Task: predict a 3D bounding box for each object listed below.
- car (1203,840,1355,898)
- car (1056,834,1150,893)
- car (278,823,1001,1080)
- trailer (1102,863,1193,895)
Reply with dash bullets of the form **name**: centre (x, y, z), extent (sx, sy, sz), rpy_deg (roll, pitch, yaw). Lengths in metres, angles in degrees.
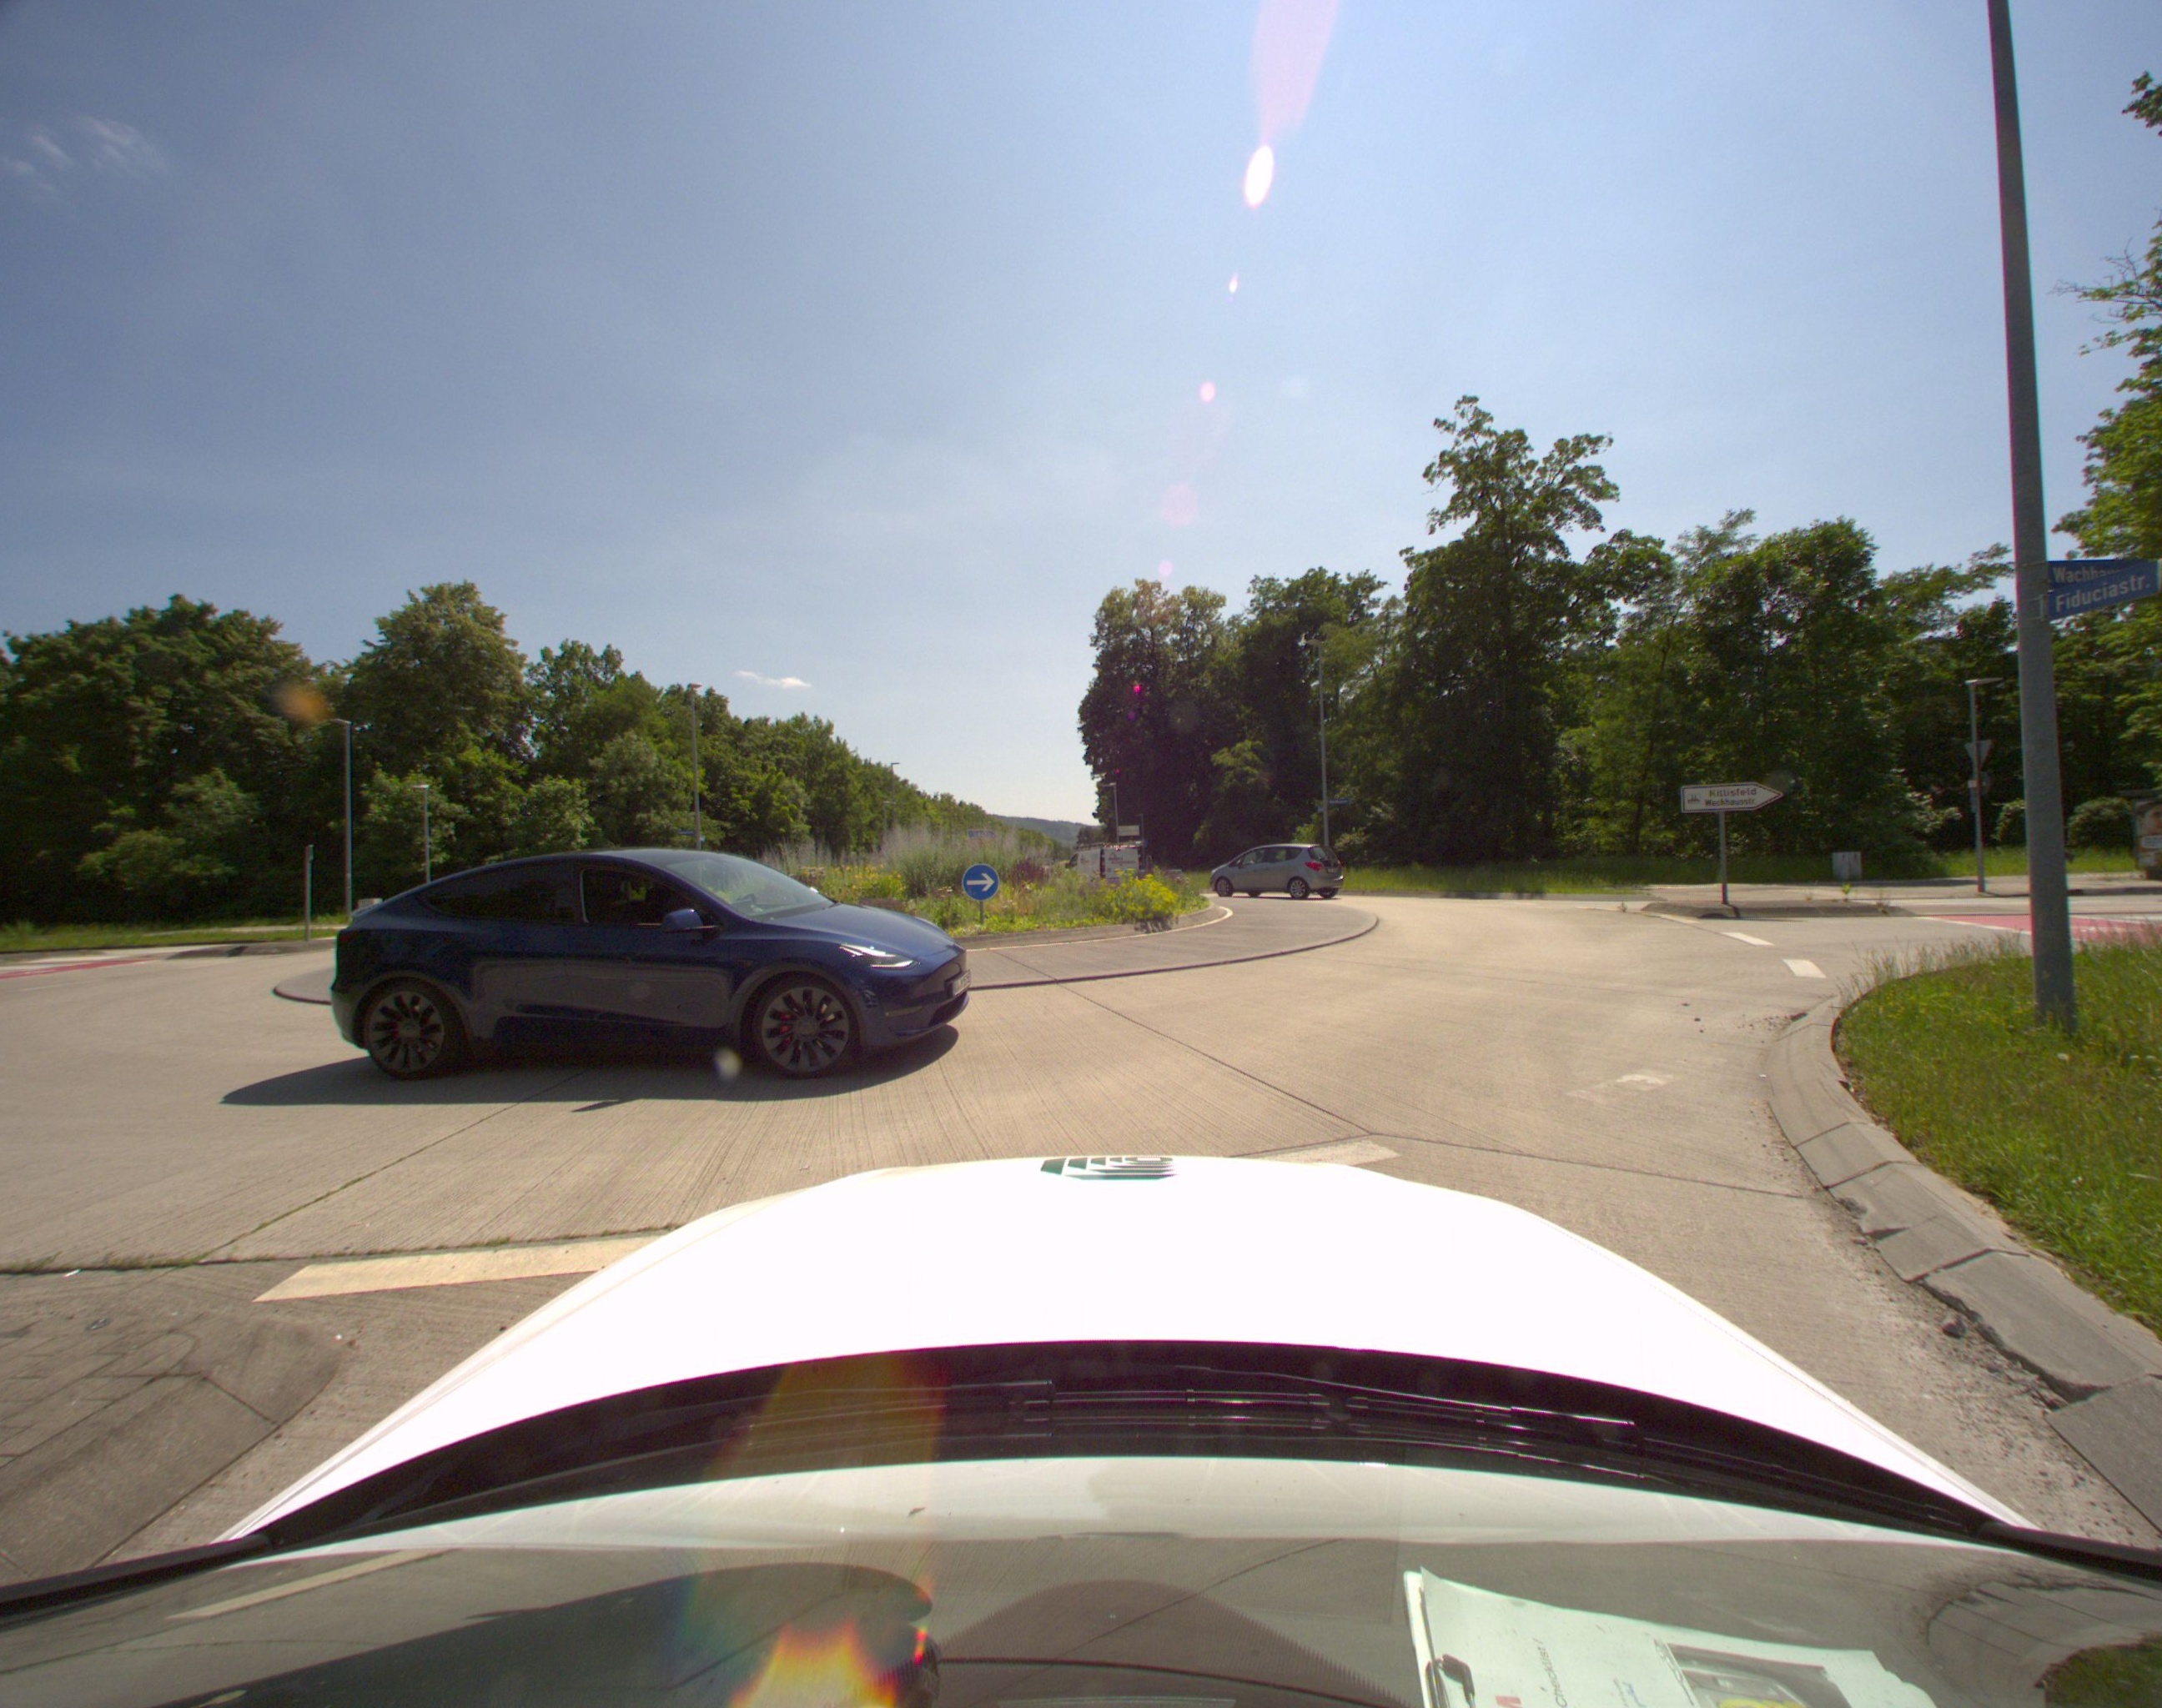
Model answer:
- **car**: centre (5.846, 0.457, 24.369), extent (1.801, 1.607, 4.076), rpy_deg (0, -1, -45)
- **car**: centre (0.850, 0.429, 34.953), extent (2.175, 2.316, 4.943), rpy_deg (-1, -1, -23)
- **car**: centre (-3.210, 0.705, 6.504), extent (4.716, 1.640, 2.004), rpy_deg (-2, 0, 7)
- **trailer**: centre (2.468, 0.943, 31.129), extent (2.131, 1.097, 3.327), rpy_deg (-1, -1, -24)
